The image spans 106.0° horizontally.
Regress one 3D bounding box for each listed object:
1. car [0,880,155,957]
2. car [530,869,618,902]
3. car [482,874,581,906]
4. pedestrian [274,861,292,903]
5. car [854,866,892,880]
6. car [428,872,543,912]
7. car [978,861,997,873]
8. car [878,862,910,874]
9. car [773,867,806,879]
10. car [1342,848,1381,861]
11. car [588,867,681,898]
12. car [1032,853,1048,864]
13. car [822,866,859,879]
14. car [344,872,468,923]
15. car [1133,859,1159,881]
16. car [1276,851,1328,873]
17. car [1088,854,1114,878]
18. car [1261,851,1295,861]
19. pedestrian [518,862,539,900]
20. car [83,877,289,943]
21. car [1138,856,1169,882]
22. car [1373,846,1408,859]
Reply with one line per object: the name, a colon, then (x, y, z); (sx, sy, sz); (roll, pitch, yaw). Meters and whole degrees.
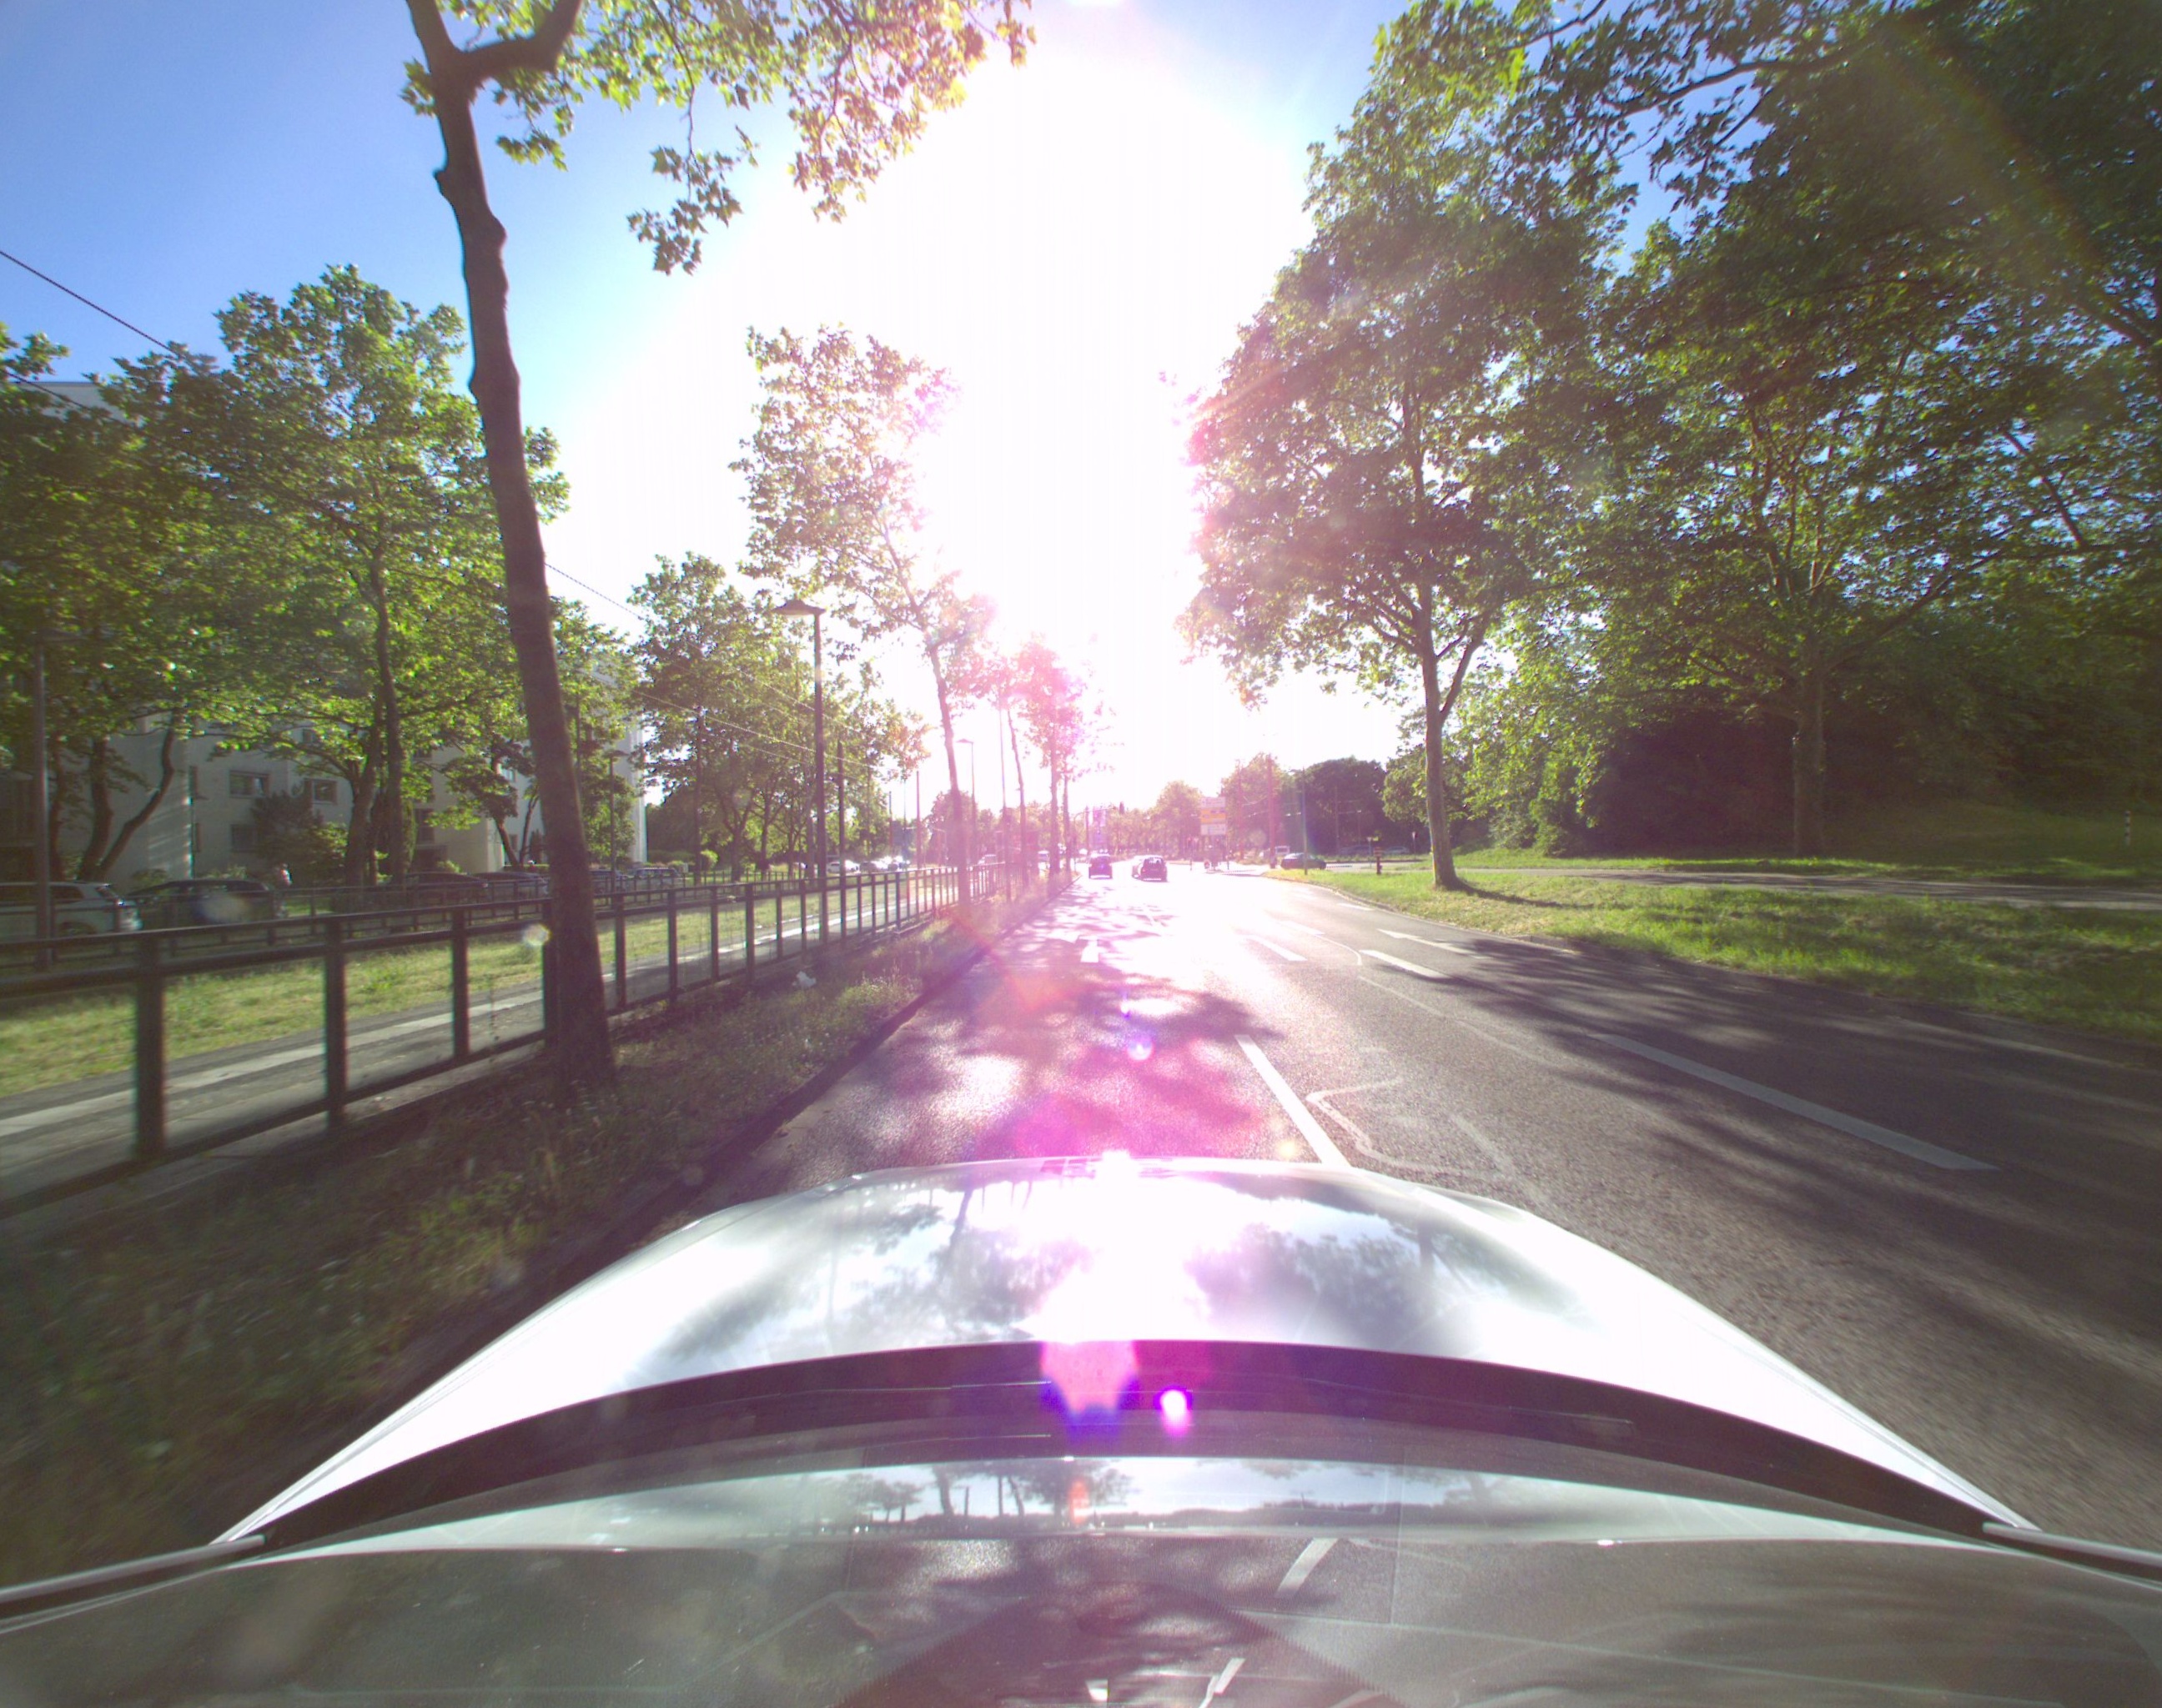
car: (-23.643, 1.424, 17.965); (4.014, 1.544, 1.627); (-1, 1, -40)
car: (-23.586, 1.433, 37.927); (3.304, 1.431, 1.552); (0, -1, -41)
car: (-23.519, 1.507, 34.906); (3.401, 1.253, 1.448); (0, -1, -39)
pedestrian: (-35.008, 1.217, 35.733); (0.317, 1.792, 0.449); (-1, -1, -5)
car: (-27.676, 2.496, 108.461); (4.448, 1.610, 1.910); (-2, 2, 20)
car: (-23.094, 1.427, 31.659); (1.521, 1.426, 3.404); (-1, -1, 44)
car: (-12.302, 1.715, 107.221); (1.623, 1.449, 3.725); (0, -1, 6)
car: (-27.189, 2.002, 118.453); (3.953, 1.621, 1.910); (-2, 0, 20)
car: (-40.493, 2.678, 113.193); (4.001, 1.436, 1.825); (-2, 2, 20)
car: (34.751, 0.114, 100.880); (4.311, 1.559, 1.883); (-1, -1, 26)
car: (-22.826, 1.412, 41.738); (3.942, 1.476, 1.612); (0, -1, -42)
car: (-6.931, 0.800, 137.875); (1.812, 1.780, 4.580); (0, -1, 10)
car: (-32.768, 2.489, 110.978); (4.448, 1.611, 1.910); (-2, 0, 20)
car: (-23.340, 1.458, 28.234); (1.447, 1.547, 3.157); (0, 1, 44)
car: (4.542, 1.107, 57.036); (1.672, 1.475, 4.133); (0, -1, 2)
car: (18.519, 0.662, 68.202); (4.638, 1.792, 1.965); (1, -1, -41)
car: (1.359, 0.851, 56.589); (1.705, 1.603, 3.350); (-1, -1, 0)
car: (25.585, 0.278, 105.832); (3.950, 1.338, 1.739); (-1, -1, 27)
pedestrian: (-26.484, 1.283, 39.047); (0.474, 1.792, 0.717); (0, -1, 0)
car: (-23.590, 1.425, 21.649); (3.396, 1.509, 1.450); (-1, 1, -32)
car: (4.453, 0.878, 50.385); (1.633, 1.494, 3.503); (0, 0, 0)
car: (38.833, -0.192, 102.201); (3.949, 1.495, 1.872); (-1, -1, 28)
